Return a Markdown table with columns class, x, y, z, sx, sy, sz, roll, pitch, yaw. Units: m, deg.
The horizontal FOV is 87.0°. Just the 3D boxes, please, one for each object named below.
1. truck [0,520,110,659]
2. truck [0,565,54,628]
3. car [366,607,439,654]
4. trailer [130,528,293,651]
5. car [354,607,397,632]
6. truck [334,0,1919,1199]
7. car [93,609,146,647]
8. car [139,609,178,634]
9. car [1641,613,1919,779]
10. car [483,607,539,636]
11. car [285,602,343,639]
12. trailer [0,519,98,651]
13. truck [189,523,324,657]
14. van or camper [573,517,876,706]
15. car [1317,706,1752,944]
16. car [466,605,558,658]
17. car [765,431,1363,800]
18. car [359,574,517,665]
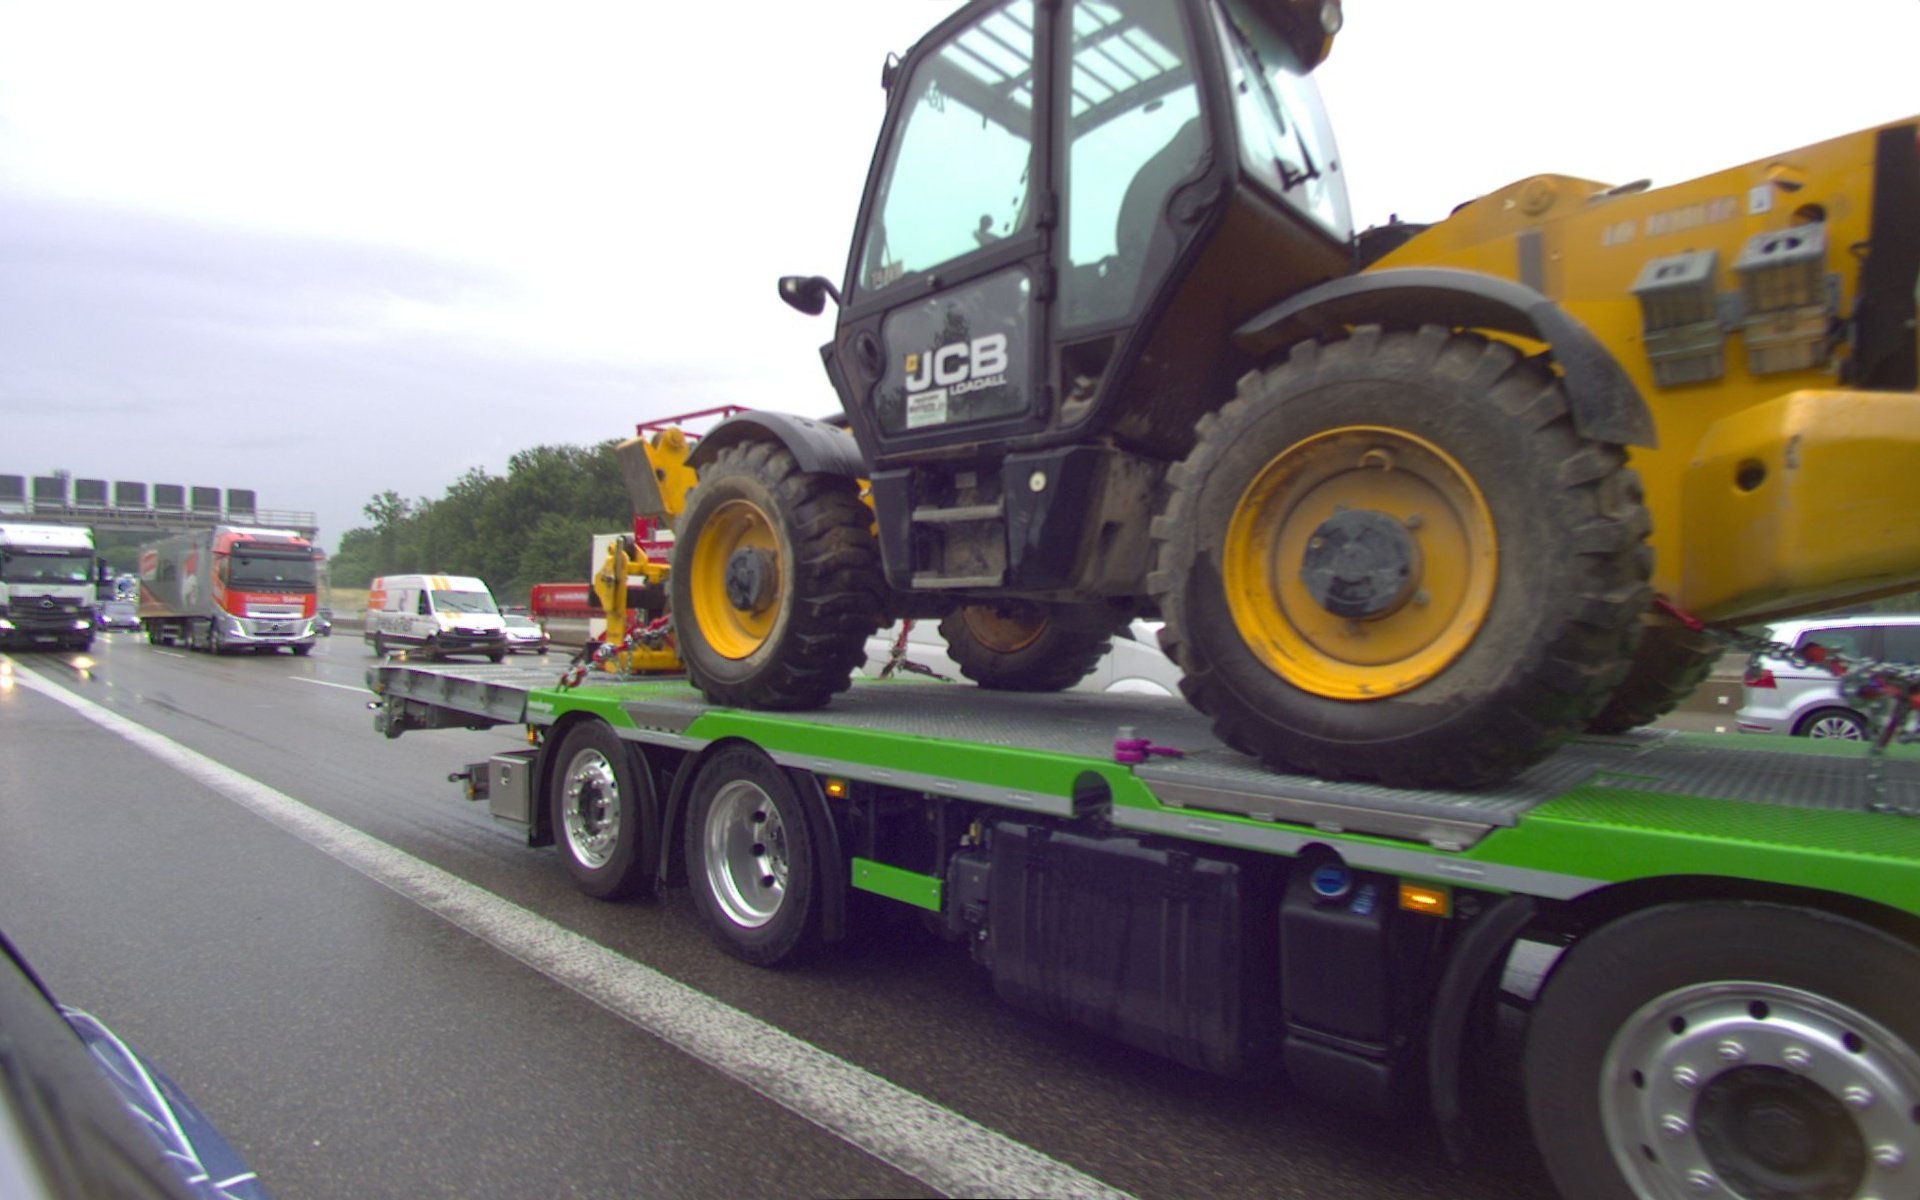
| class | x | y | z | sx | sy | sz | roll | pitch | yaw |
| --- | --- | --- | --- | --- | --- | --- | --- | --- | --- |
| truck | -30.183 | -0.325 | 33.262 | 2.885 | 4.130 | 6.724 | 1 | -1 | -44 |
| truck | -66.469 | -0.387 | 71.457 | 3.308 | 4.100 | 12.586 | -3 | 4 | -43 |
| car | -24.483 | 1.283 | 44.386 | 4.002 | 1.785 | 1.731 | 2 | 4 | 45 |
| trailer | -28.151 | -0.299 | 37.663 | 13.680 | 3.893 | 2.597 | 0 | -1 | 44 |
| car | -49.096 | 1.621 | 85.017 | 1.971 | 2.029 | 4.740 | -1 | 1 | -45 |
| truck | 0.757 | -0.396 | 4.331 | 11.798 | 3.616 | 2.800 | 0 | -2 | 43 |
| car | -45.996 | 1.478 | 55.367 | 4.002 | 1.785 | 1.738 | 2 | 4 | 44 |
| car | -56.807 | 1.508 | 71.702 | 1.969 | 1.683 | 4.189 | -1 | 0 | -40 |
| car | 10.586 | 1.000 | 10.999 | 5.080 | 1.696 | 1.972 | -1 | -2 | 42 |
| car | -27.937 | 1.335 | 62.934 | 4.002 | 1.690 | 1.822 | 0 | 1 | 44 |
| car | -35.552 | 1.107 | 55.660 | 4.001 | 1.785 | 1.739 | 2 | 4 | 43 |
| trailer | -35.075 | -0.527 | 38.203 | 2.884 | 4.237 | 13.645 | 1 | 0 | -44 |
| truck | -22.268 | -0.257 | 31.958 | 4.590 | 3.893 | 2.597 | 0 | -1 | 44 |
| van or camper | -5.048 | 0.210 | 20.732 | 7.132 | 3.228 | 2.551 | 0 | -1 | 44 |
| car | 6.422 | 2.332 | 11.570 | 4.000 | 1.831 | 1.869 | -1 | 0 | 43 |
| car | -16.417 | 1.118 | 37.023 | 3.734 | 1.842 | 1.737 | -1 | 0 | 42 |
| car | 0.668 | 0.118 | 10.098 | 5.846 | 2.649 | 2.190 | 0 | -1 | 44 |
| car | -16.157 | 0.544 | 31.050 | 7.369 | 2.507 | 2.124 | 0 | -1 | 45 |
